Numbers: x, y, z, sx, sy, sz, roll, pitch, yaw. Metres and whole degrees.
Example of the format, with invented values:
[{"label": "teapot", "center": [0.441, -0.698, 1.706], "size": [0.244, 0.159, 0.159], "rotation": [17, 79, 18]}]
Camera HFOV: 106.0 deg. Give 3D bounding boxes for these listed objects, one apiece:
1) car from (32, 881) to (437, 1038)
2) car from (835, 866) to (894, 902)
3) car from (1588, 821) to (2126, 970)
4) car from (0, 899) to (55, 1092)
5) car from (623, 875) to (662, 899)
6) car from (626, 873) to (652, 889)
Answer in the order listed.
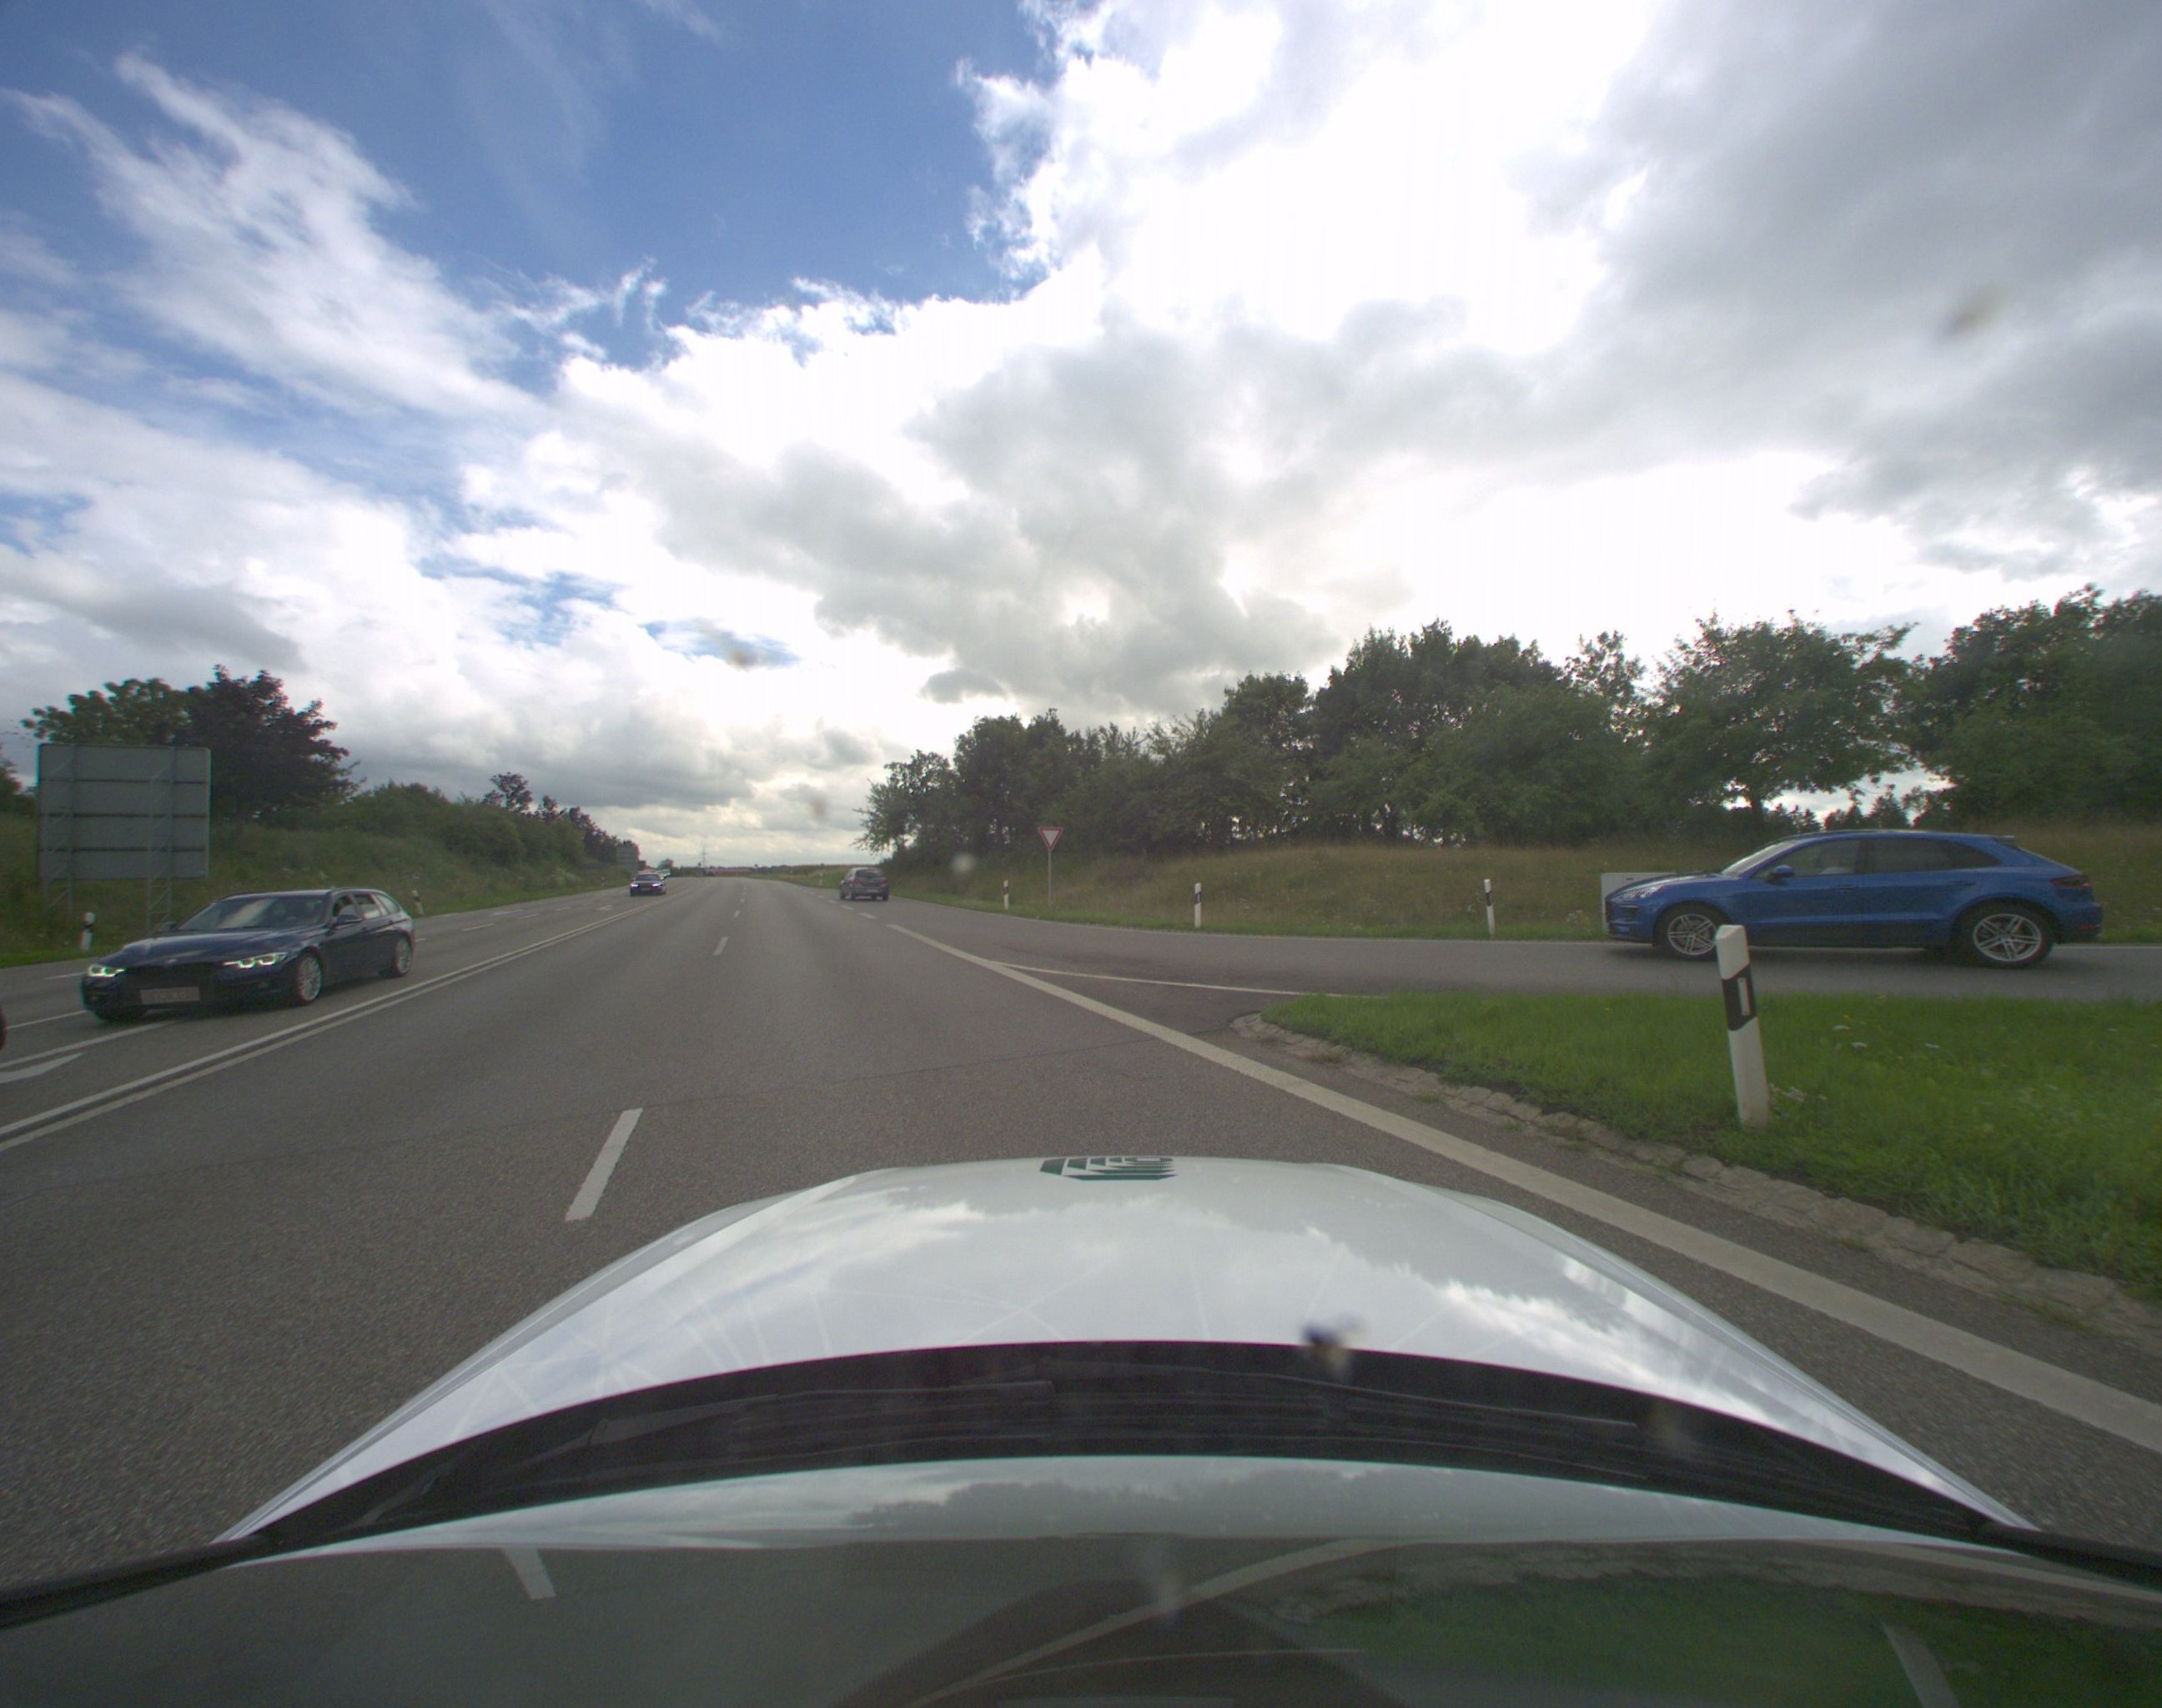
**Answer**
[{"label": "car", "center": [-11.069, 1.204, 11.283], "size": [2.057, 1.484, 4.845], "rotation": [-2, 0, -22]}, {"label": "car", "center": [-10.073, 1.358, 37.630], "size": [2.003, 1.535, 3.967], "rotation": [0, -1, -25]}, {"label": "car", "center": [9.450, 0.491, 10.626], "size": [4.695, 1.570, 2.012], "rotation": [-2, -1, 30]}, {"label": "car", "center": [-8.512, 1.085, 4.501], "size": [1.732, 1.443, 3.916], "rotation": [-2, 0, -21]}, {"label": "car", "center": [-27.790, 2.033, 51.713], "size": [1.773, 1.383, 4.508], "rotation": [-1, -1, -24]}, {"label": "car", "center": [-43.981, 2.690, 81.081], "size": [2.004, 1.494, 4.950], "rotation": [-1, 0, -26]}]
